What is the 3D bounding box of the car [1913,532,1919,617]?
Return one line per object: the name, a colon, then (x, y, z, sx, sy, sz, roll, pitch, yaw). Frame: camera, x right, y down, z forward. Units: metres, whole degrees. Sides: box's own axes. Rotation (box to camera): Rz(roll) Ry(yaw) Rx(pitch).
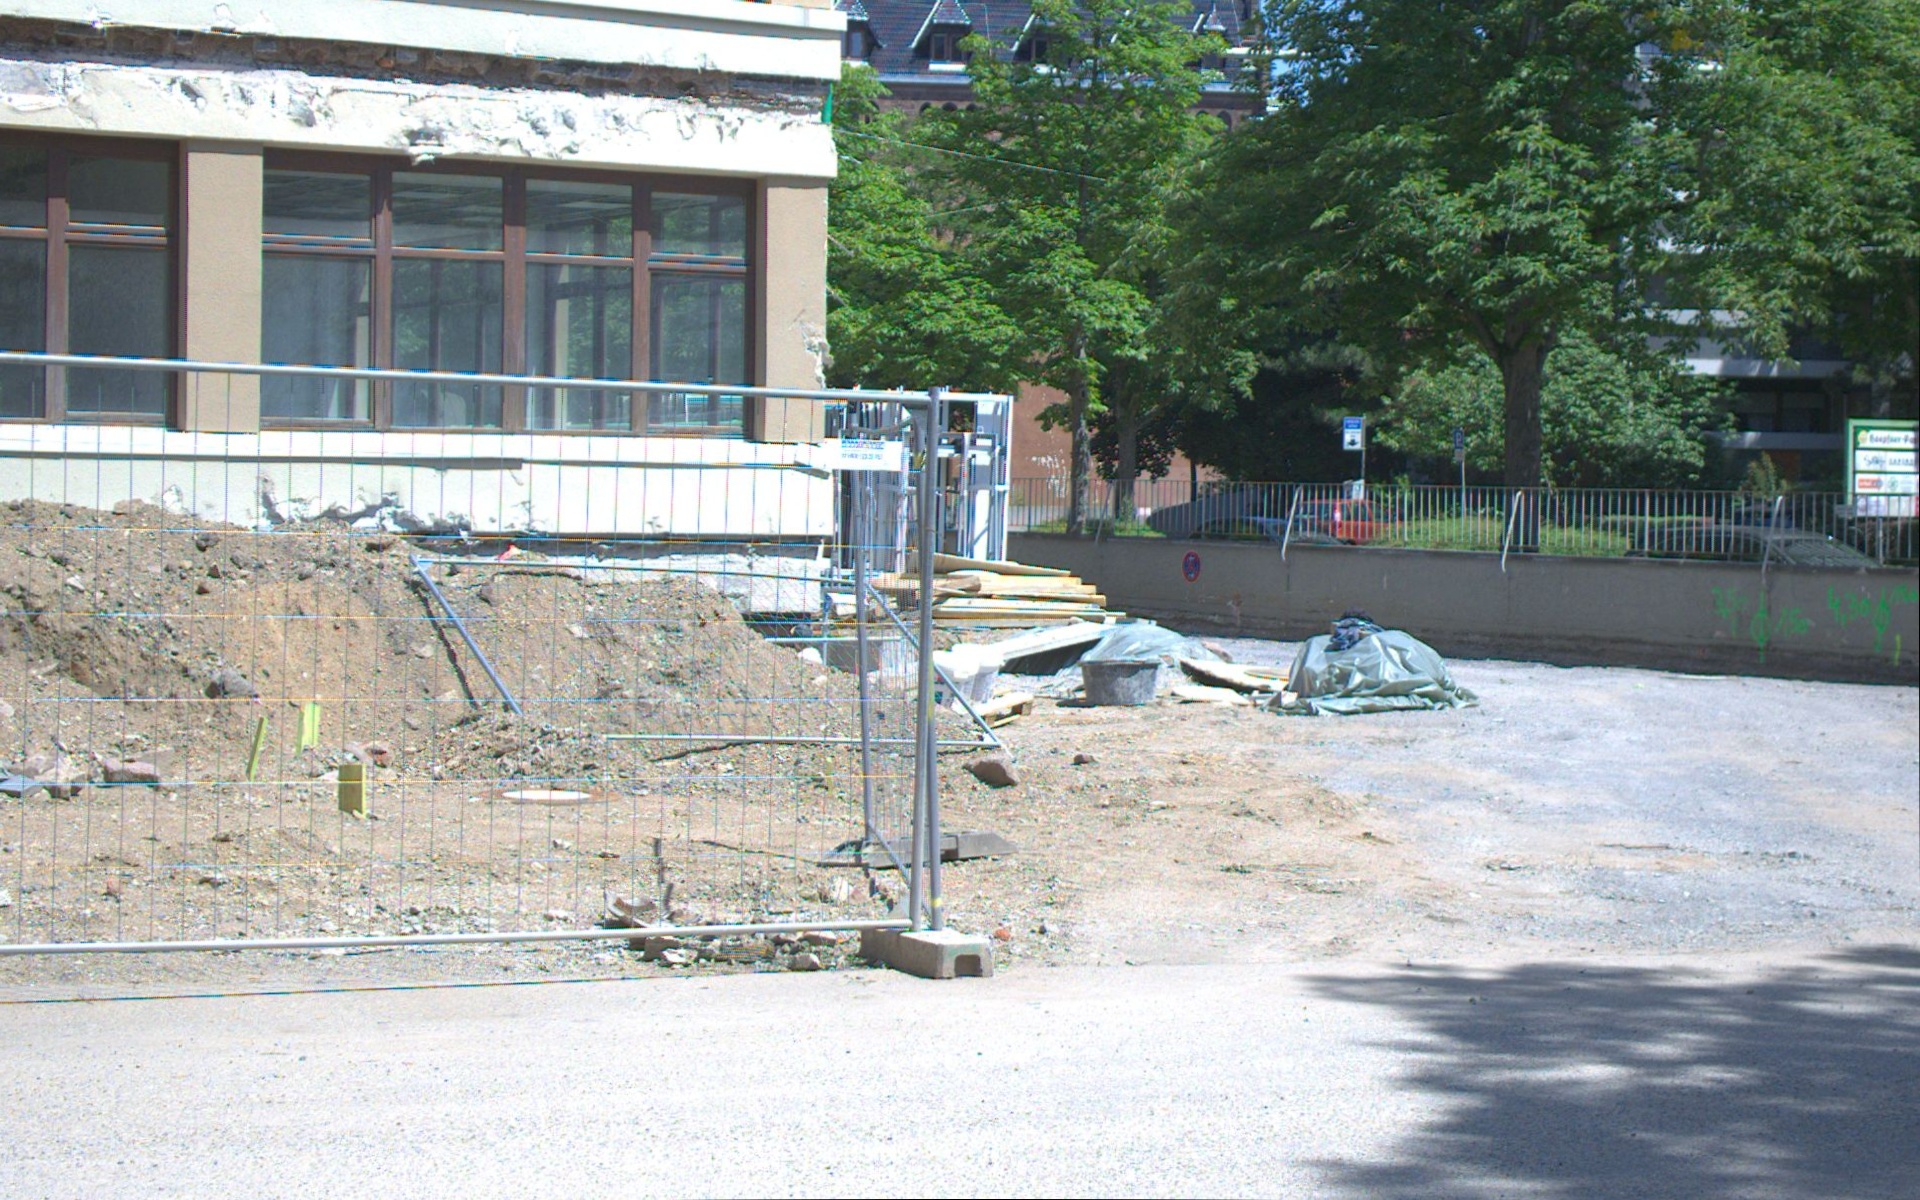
car: (16.799, -0.430, 57.447, 1.634, 1.382, 3.675, 1, 1, 16)
